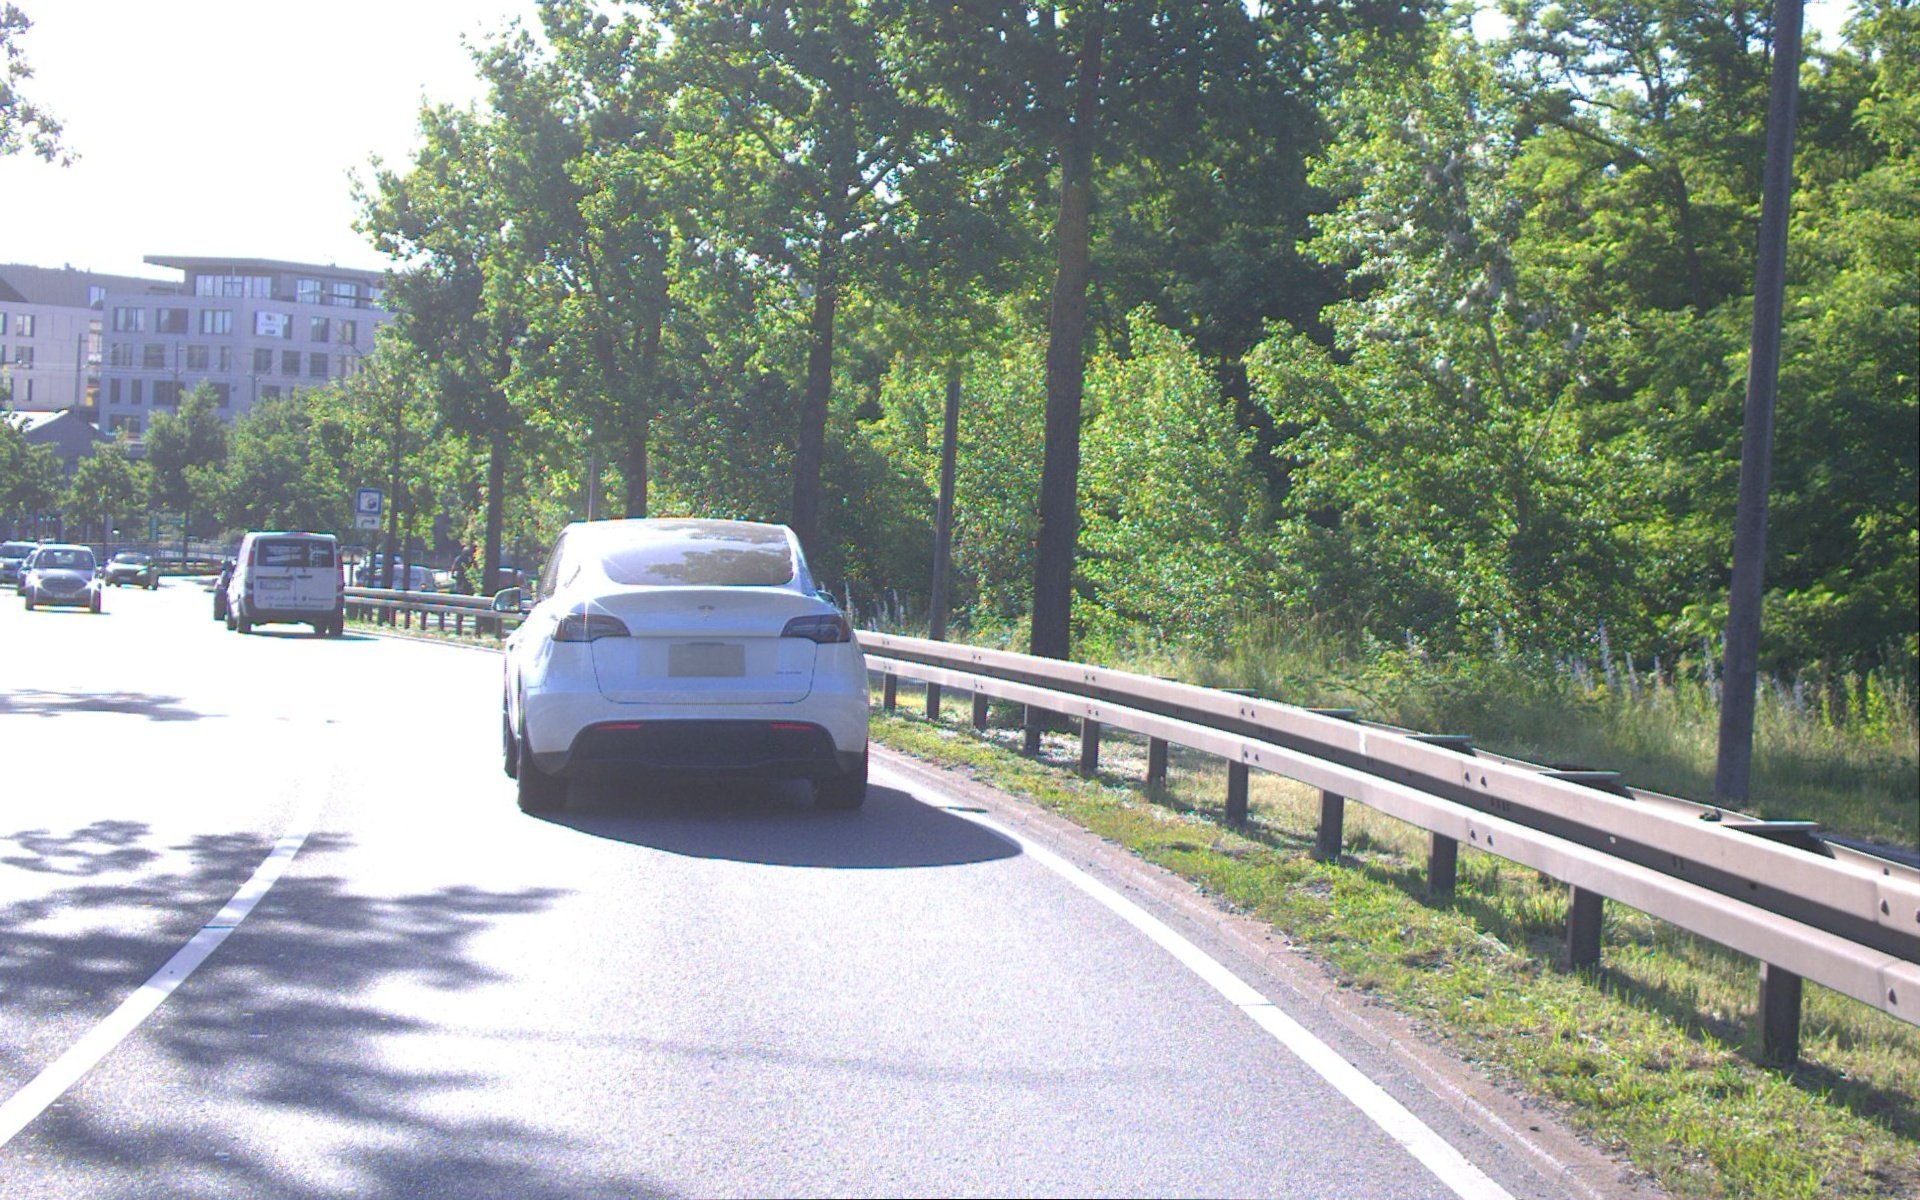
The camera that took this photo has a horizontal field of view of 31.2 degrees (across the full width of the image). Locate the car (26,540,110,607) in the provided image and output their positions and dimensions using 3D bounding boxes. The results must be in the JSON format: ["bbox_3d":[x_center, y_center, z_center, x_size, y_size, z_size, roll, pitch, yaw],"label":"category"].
[{"bbox_3d":[-21.596,-0.653,83.177,1.808,1.549,4.142,1,1,-16],"label":"car"}]

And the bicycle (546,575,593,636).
[{"bbox_3d":[-7.213,0.110,63.519,0.701,1.071,1.921,1,-1,-2],"label":"bicycle"}]

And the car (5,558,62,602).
[{"bbox_3d":[-33.694,-0.745,124.985,1.849,1.486,4.718,1,1,-17],"label":"car"}]

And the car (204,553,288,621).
[{"bbox_3d":[-16.877,-0.319,81.181,1.603,1.429,3.679,3,0,-16],"label":"car"}]

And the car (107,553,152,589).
[{"bbox_3d":[-35.397,-1.254,146.467,1.690,1.436,4.217,1,1,-15],"label":"car"}]

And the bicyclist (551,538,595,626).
[{"bbox_3d":[-7.138,-0.330,63.433,0.707,1.573,1.004,1,-2,-3],"label":"bicyclist"}]

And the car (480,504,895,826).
[{"bbox_3d":[-1.710,0.312,20.041,1.913,1.635,4.411,1,1,-11],"label":"car"}]

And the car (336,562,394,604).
[{"bbox_3d":[-27.179,-0.779,157.124,1.910,1.796,4.129,4,1,-1],"label":"car"}]

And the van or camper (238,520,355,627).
[{"bbox_3d":[-12.385,-0.509,64.391,1.958,1.877,4.881,1,1,-9],"label":"van or camper"}]

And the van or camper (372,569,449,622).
[{"bbox_3d":[-20.928,-0.183,131.124,1.826,1.785,4.544,4,2,4],"label":"van or camper"}]
